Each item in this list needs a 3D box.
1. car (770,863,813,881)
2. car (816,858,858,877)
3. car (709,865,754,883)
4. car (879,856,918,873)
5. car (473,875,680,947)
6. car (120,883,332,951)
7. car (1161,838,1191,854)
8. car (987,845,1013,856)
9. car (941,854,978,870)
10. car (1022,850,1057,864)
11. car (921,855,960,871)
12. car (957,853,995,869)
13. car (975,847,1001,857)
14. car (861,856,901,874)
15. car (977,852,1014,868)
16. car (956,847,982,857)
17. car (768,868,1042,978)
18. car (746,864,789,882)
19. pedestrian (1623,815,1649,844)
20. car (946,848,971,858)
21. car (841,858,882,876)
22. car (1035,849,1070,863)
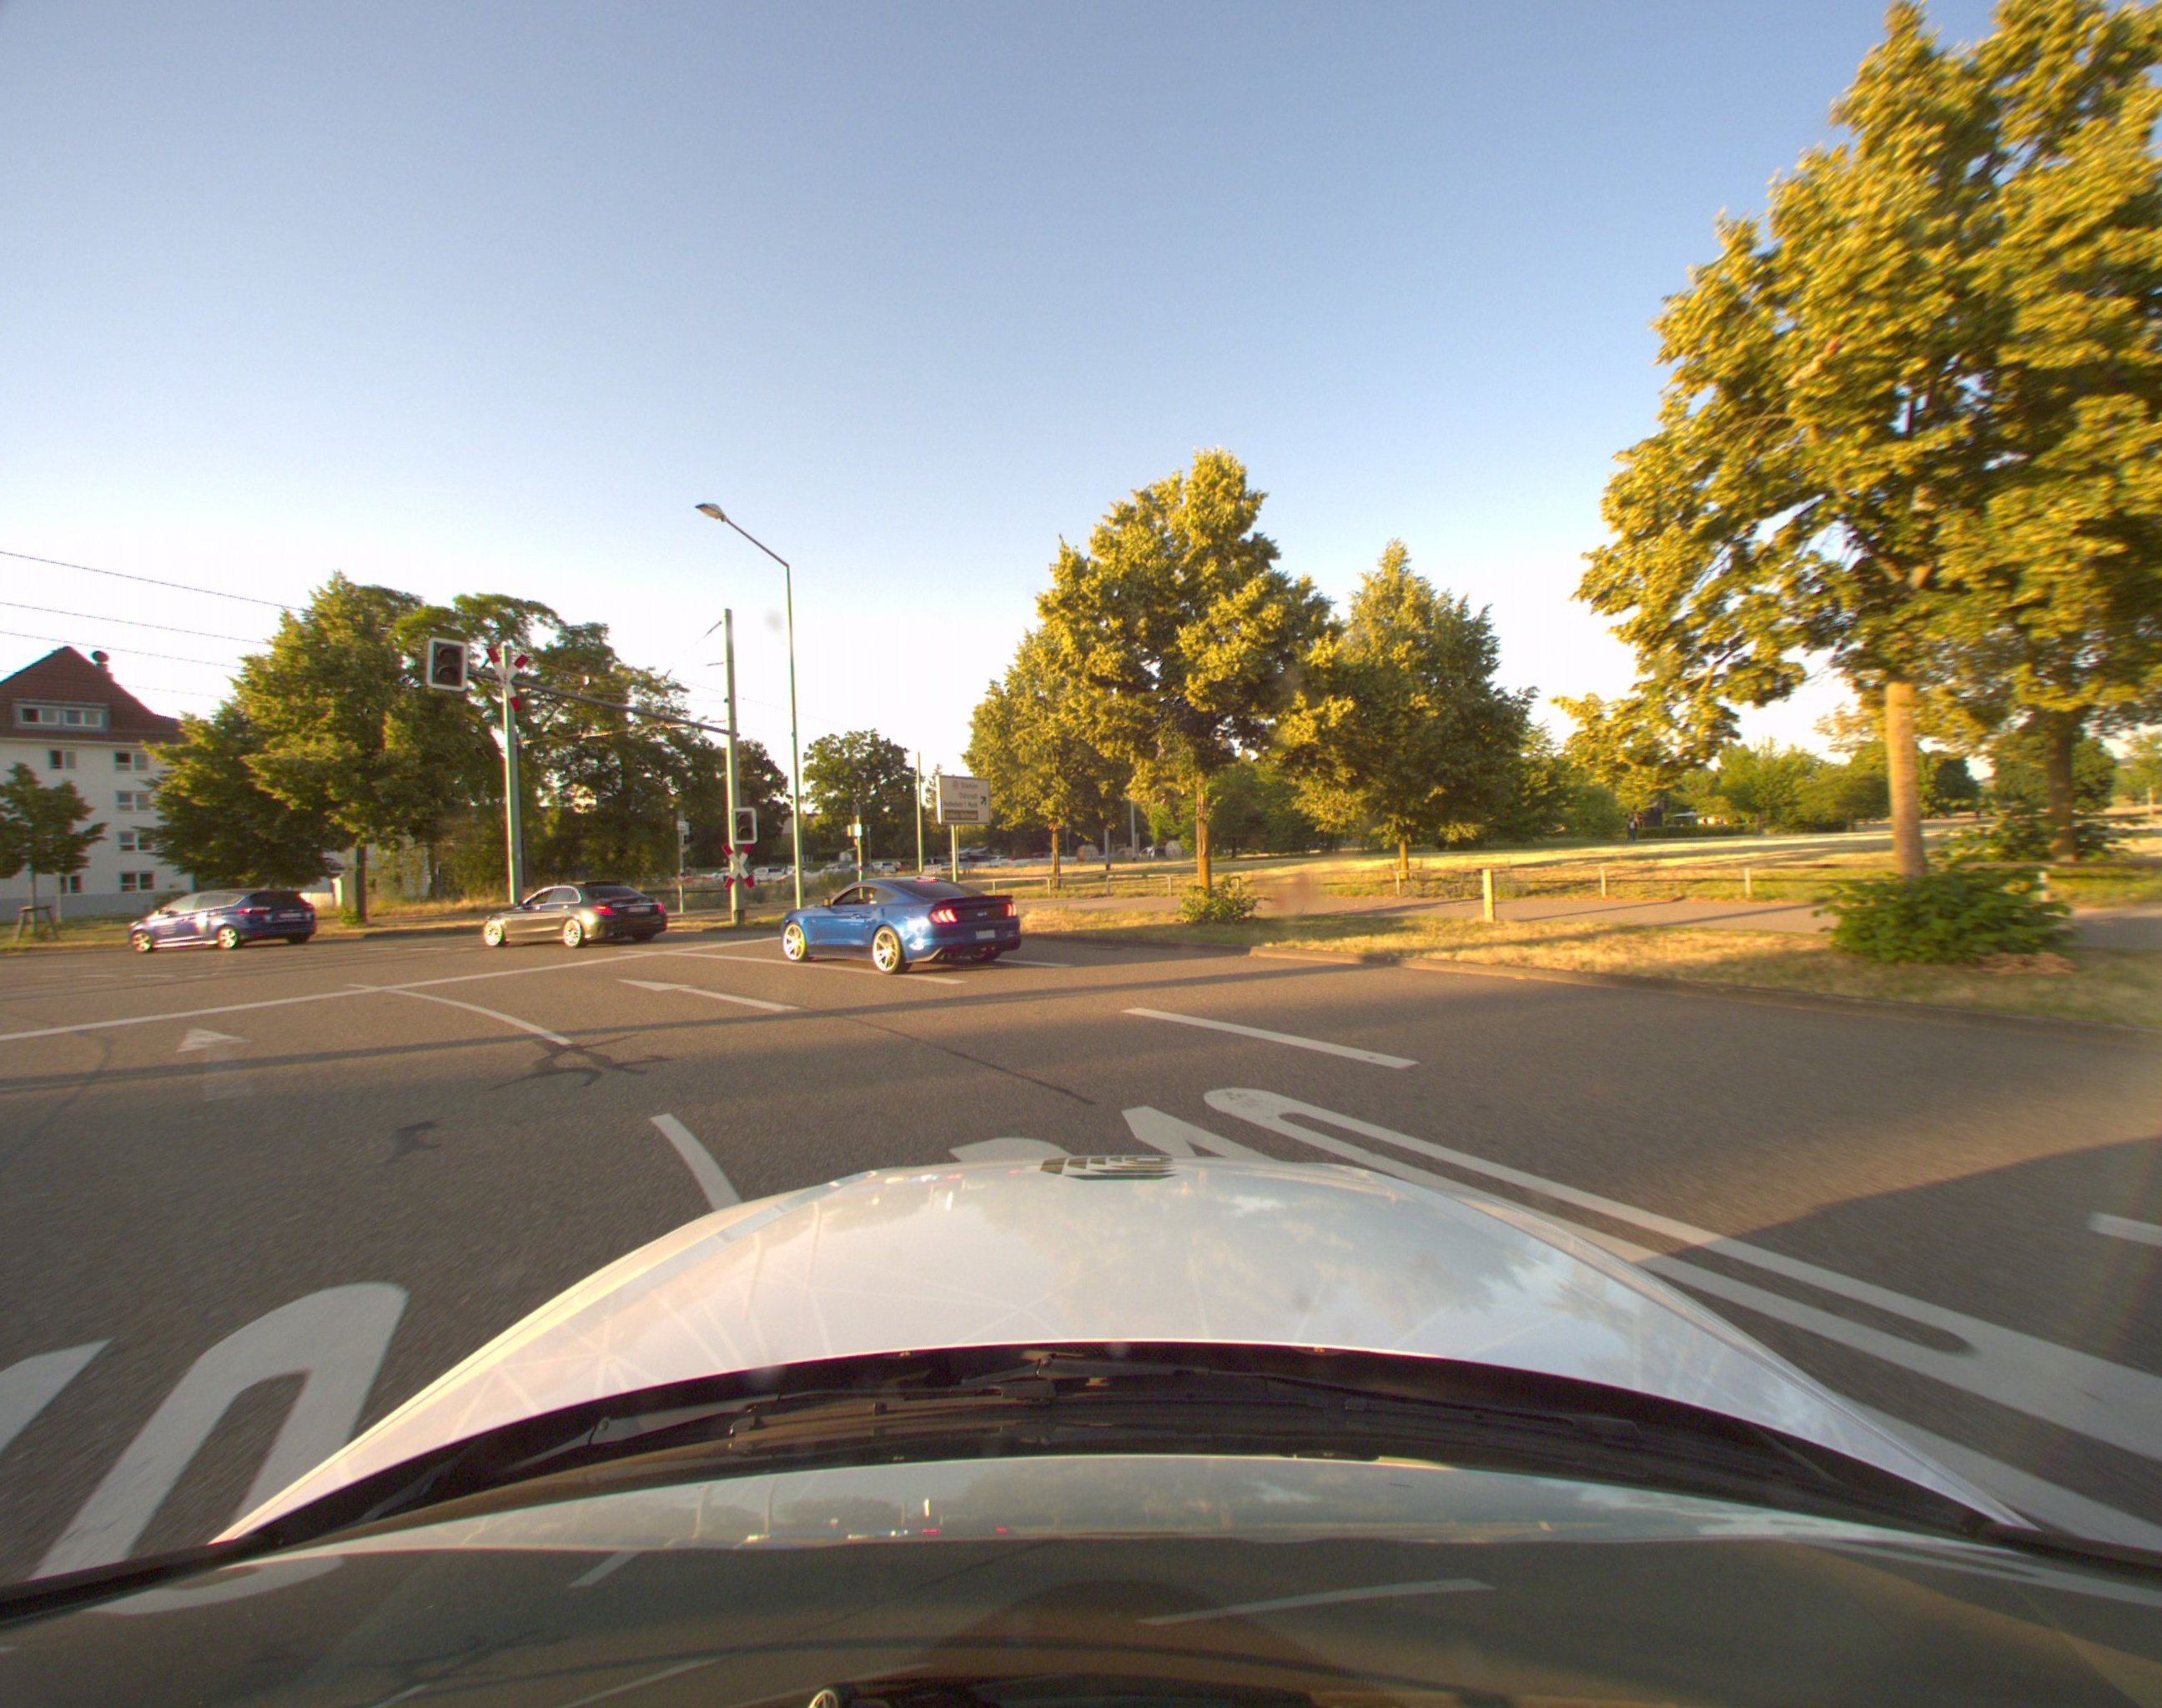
[{"bbox_3d":[-26.962,1.655,75.750,3.948,1.445,1.965,-3,0,39],"label":"car"},{"bbox_3d":[-23.941,1.351,79.781,3.948,1.662,1.965,-3,0,39],"label":"car"},{"bbox_3d":[-30.929,1.795,72.073,3.948,1.445,1.965,-3,0,39],"label":"car"},{"bbox_3d":[-19.097,1.118,85.244,3.948,1.553,1.916,-3,0,39],"label":"car"},{"bbox_3d":[-11.577,1.289,18.680,4.374,1.427,1.969,-2,-1,26],"label":"car"},{"bbox_3d":[-23.400,1.707,22.385,4.041,1.602,1.962,-2,-1,7],"label":"car"},{"bbox_3d":[13.913,-1.218,119.473,3.948,2.095,1.916,-3,0,39],"label":"car"},{"bbox_3d":[-13.445,-0.510,135.726,1.974,1.744,4.025,-1,0,42],"label":"car"},{"bbox_3d":[-13.474,0.849,90.193,3.948,1.553,1.916,-3,0,39],"label":"car"},{"bbox_3d":[-5.102,0.404,99.403,3.948,1.553,1.916,-3,0,39],"label":"car"},{"bbox_3d":[-15.280,0.984,88.644,4.046,1.553,1.916,-3,0,39],"label":"car"},{"bbox_3d":[-11.883,0.782,92.052,3.948,1.553,1.916,-3,0,39],"label":"car"},{"bbox_3d":[-15.633,-0.299,137.490,1.879,1.553,4.025,-3,0,43],"label":"car"},{"bbox_3d":[-20.434,1.165,83.084,3.948,1.662,1.965,-3,0,39],"label":"car"},{"bbox_3d":[-9.871,0.702,94.170,3.948,1.553,1.916,-3,0,39],"label":"car"},{"bbox_3d":[-19.355,-0.294,141.029,1.879,1.553,4.025,-3,0,43],"label":"car"},{"bbox_3d":[-2.904,0.958,12.733,4.612,1.342,1.969,-2,-1,45],"label":"car"},{"bbox_3d":[-28.565,1.723,74.175,3.948,1.445,1.965,-3,0,39],"label":"car"},{"bbox_3d":[36.701,-1.643,53.845,1.105,1.863,0.905,-2,0,-19],"label":"pedestrian"},{"bbox_3d":[-21.430,-0.140,142.989,1.879,1.553,4.025,-3,0,43],"label":"car"},{"bbox_3d":[-21.961,1.289,81.439,3.948,1.662,1.965,-3,0,39],"label":"car"},{"bbox_3d":[-3.563,0.266,101.348,3.948,1.553,1.916,-3,0,39],"label":"car"}]
